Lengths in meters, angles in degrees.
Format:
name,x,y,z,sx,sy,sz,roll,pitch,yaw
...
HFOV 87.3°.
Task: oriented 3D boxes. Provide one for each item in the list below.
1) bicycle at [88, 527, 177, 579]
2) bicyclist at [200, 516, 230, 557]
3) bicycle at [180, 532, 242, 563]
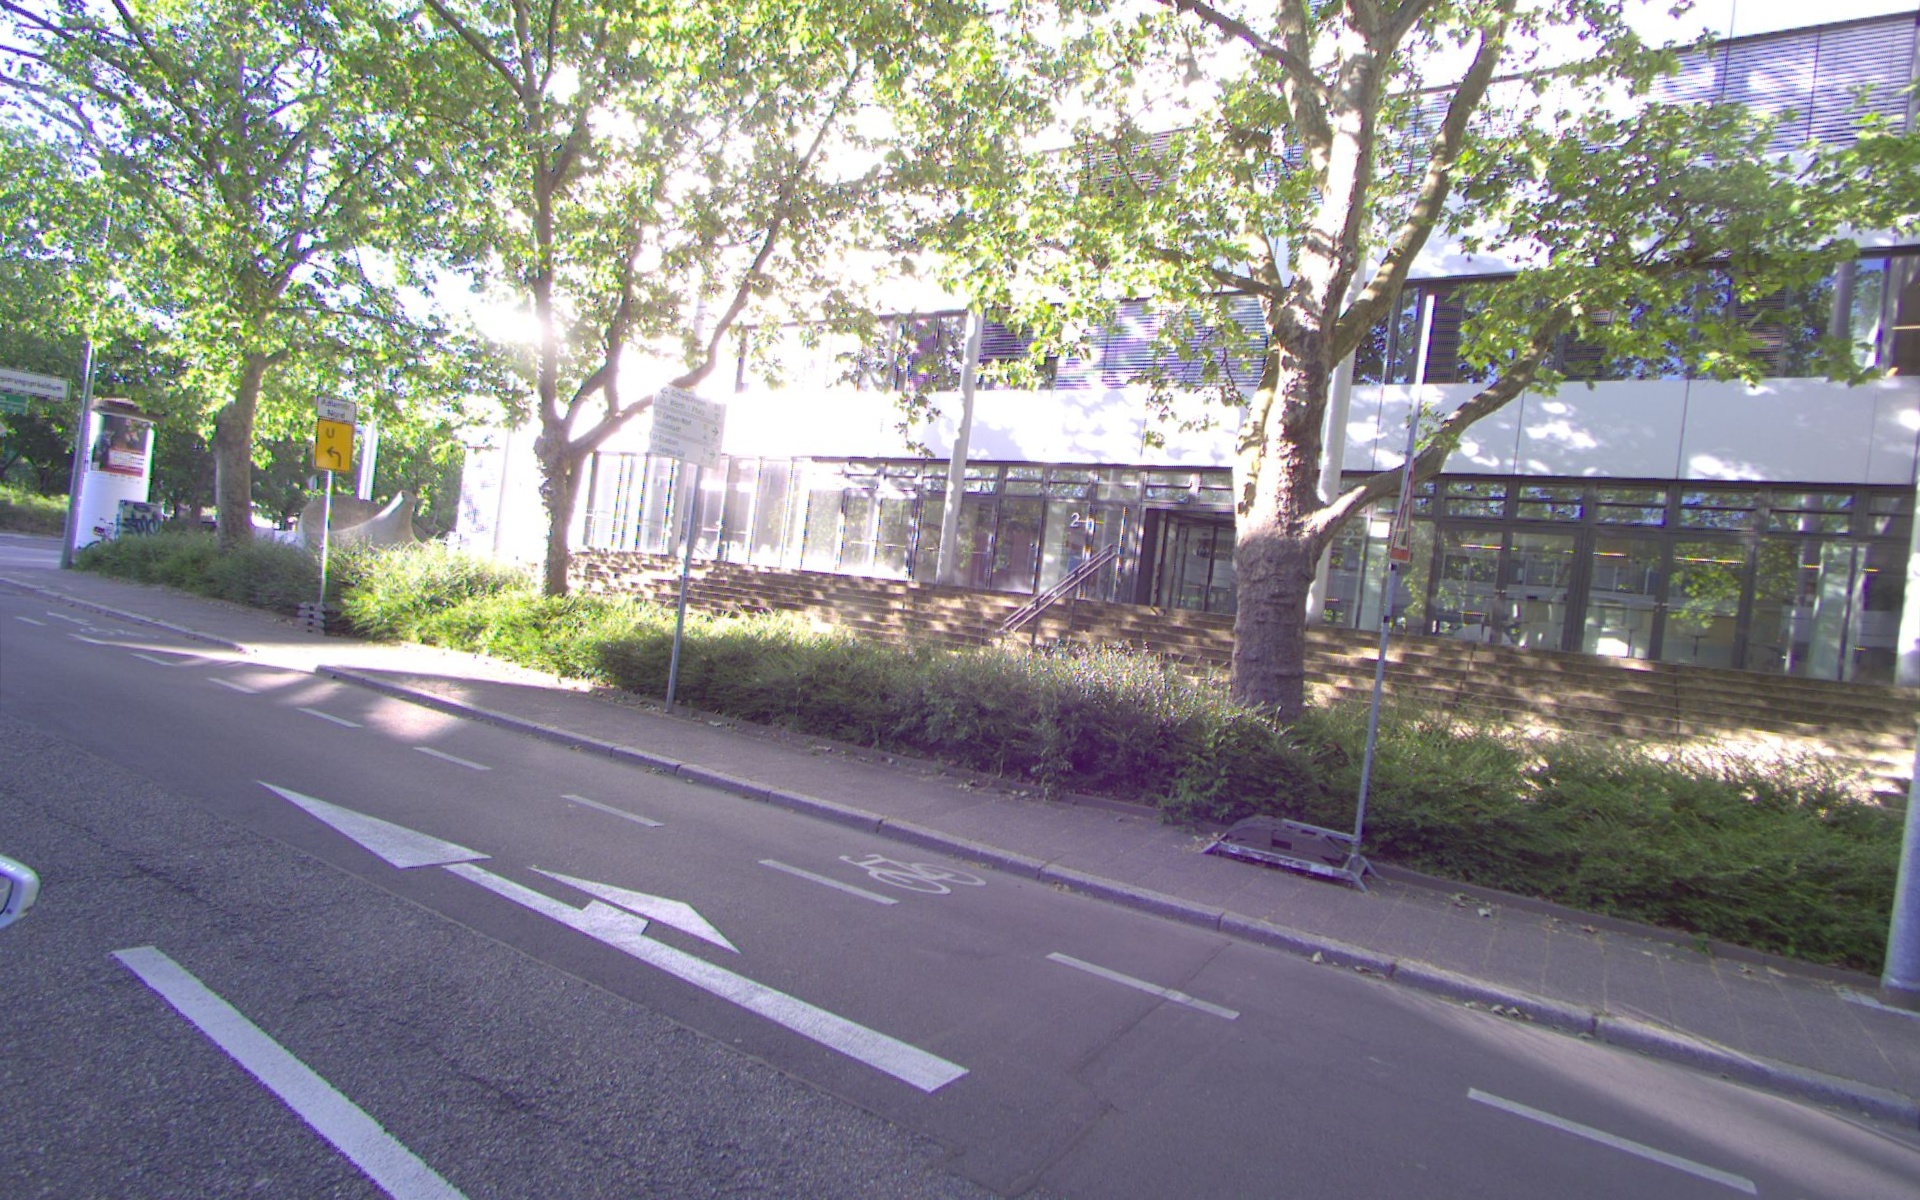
name,x,y,z,sx,sy,sz,roll,pitch,yaw
bicycle,-19.044,-1.070,23.180,0.295,0.991,1.484,6,-2,37
bicyclist,-31.397,-2.672,42.372,0.588,1.600,0.730,6,-1,38
bicycle,-31.495,-2.204,42.318,0.592,0.991,1.918,6,-2,37
